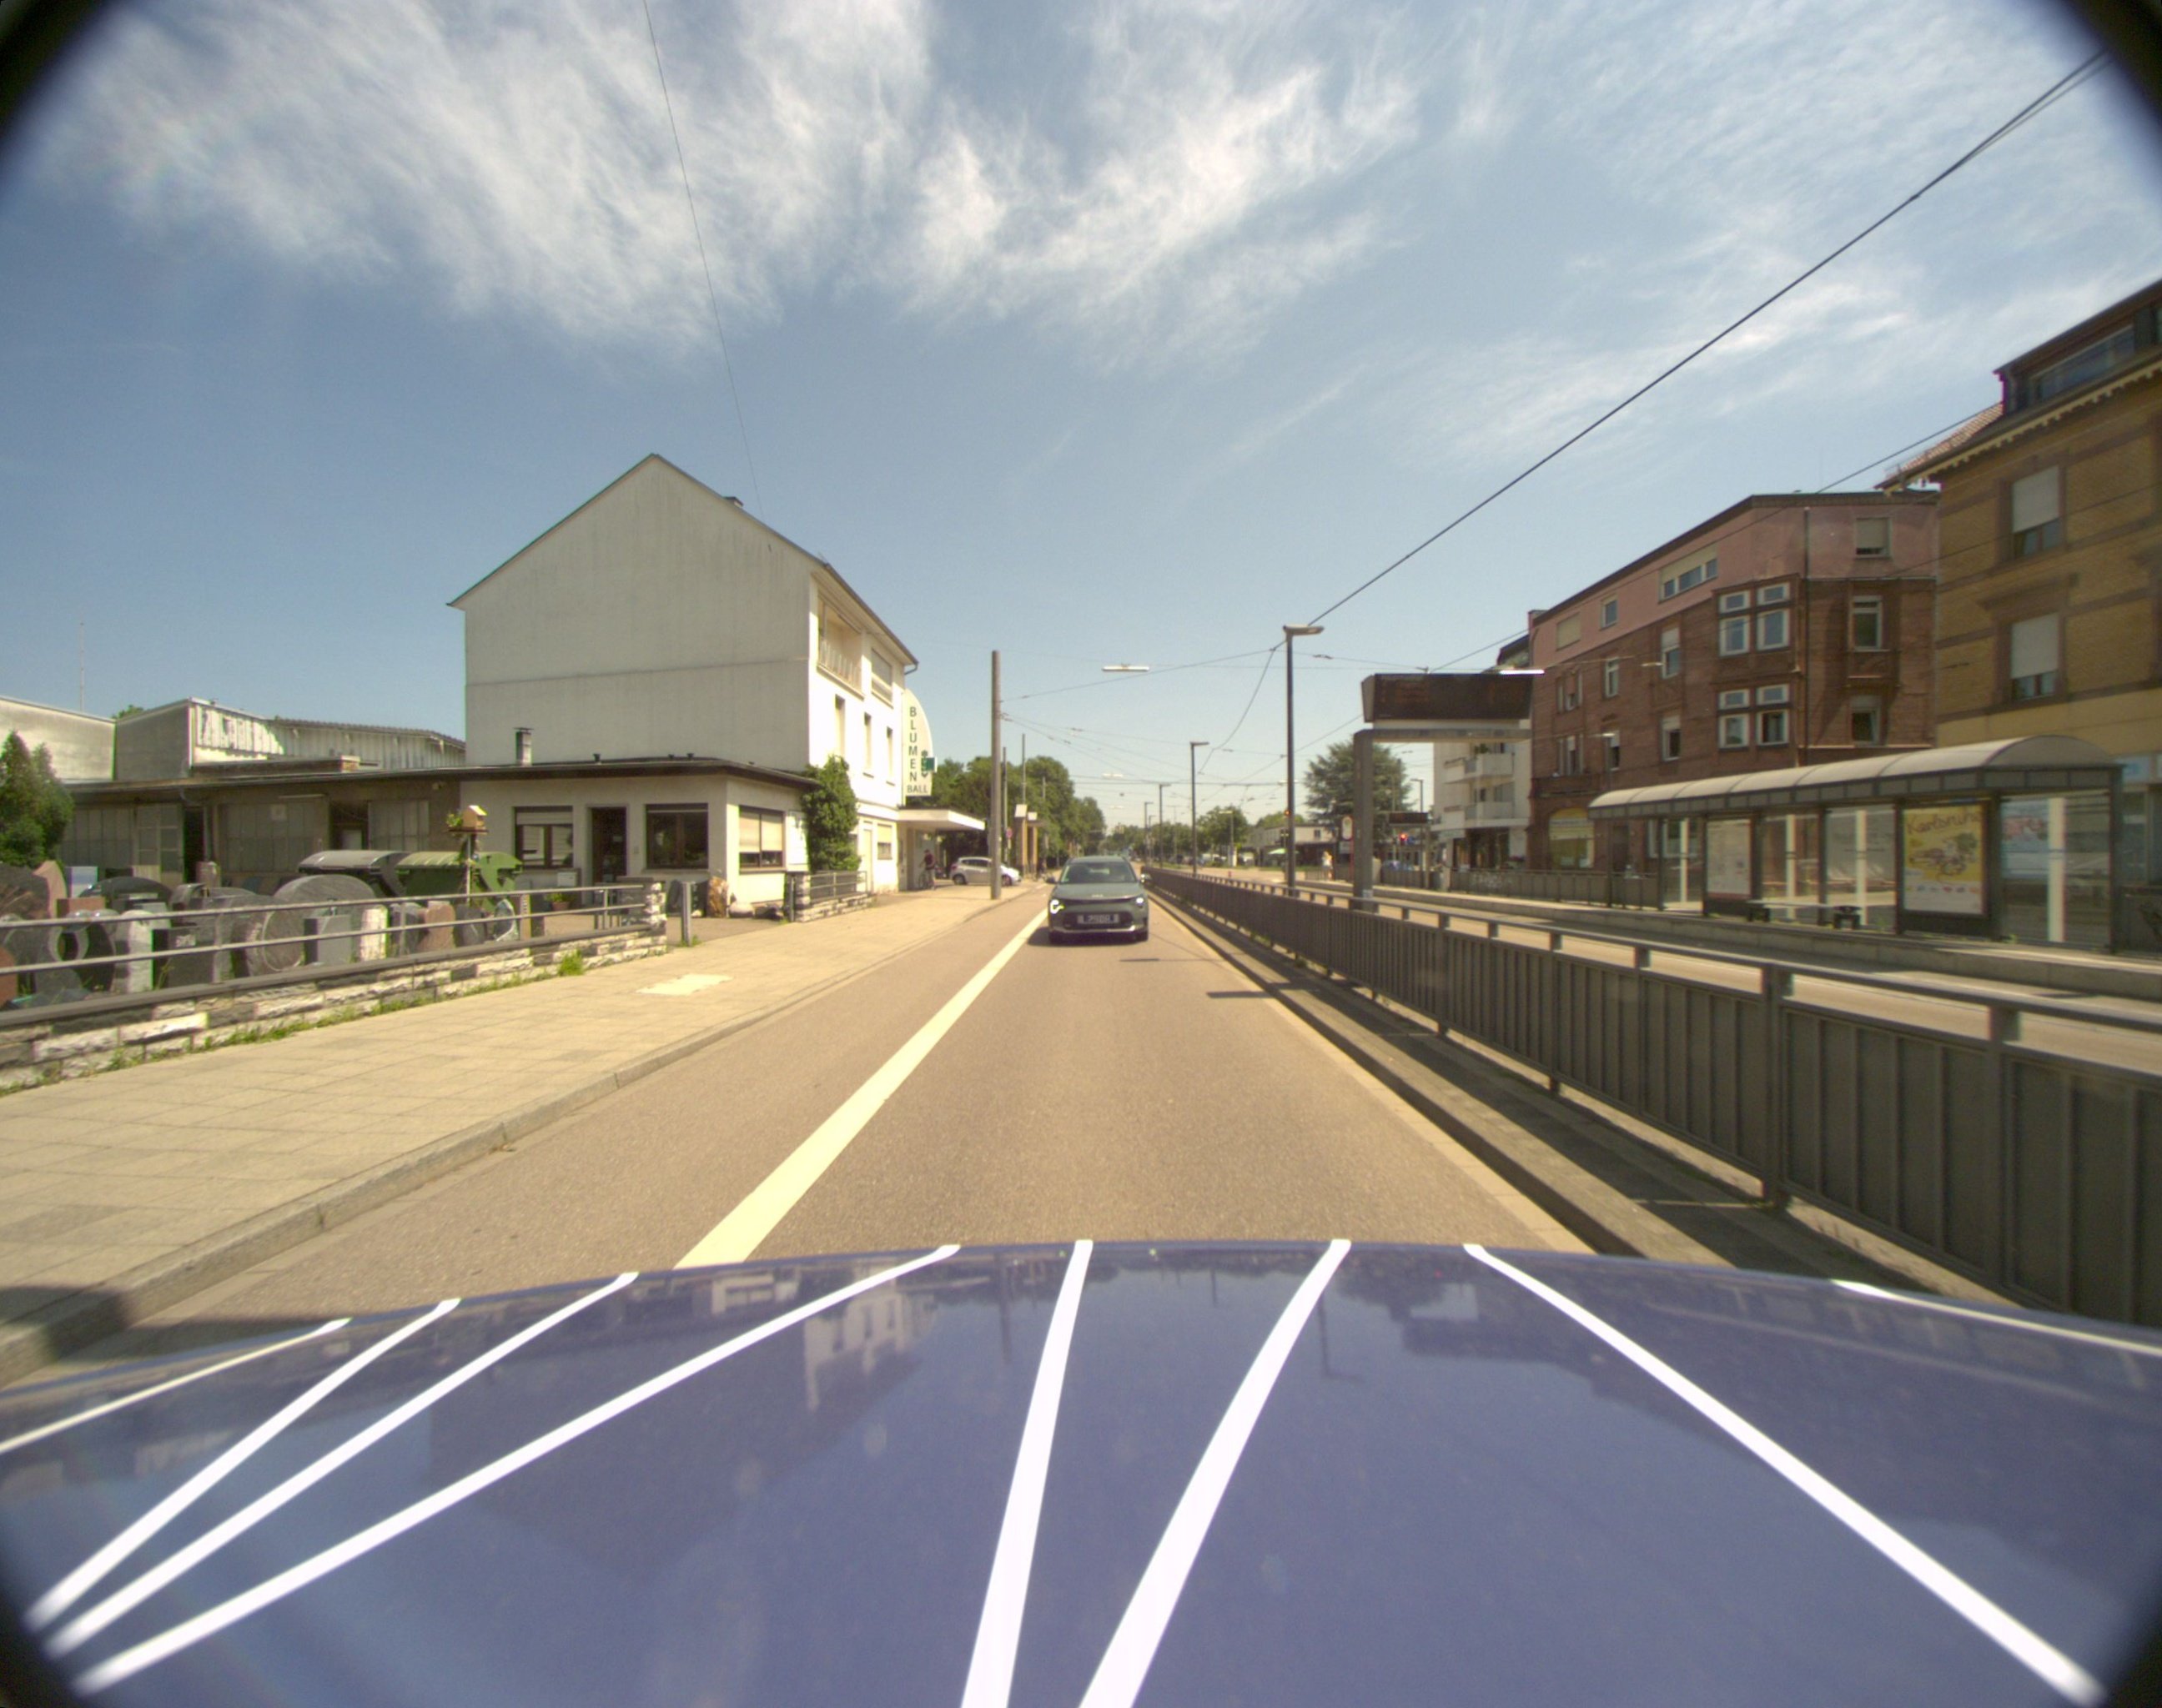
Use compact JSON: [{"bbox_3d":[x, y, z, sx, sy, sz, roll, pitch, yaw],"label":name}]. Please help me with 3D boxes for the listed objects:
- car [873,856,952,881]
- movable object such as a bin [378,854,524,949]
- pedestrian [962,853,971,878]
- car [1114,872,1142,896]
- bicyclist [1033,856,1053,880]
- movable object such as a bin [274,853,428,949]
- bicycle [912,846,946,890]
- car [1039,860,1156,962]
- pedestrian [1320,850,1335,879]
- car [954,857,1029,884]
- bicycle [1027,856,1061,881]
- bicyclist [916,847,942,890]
[{"bbox_3d":[-10.303,0.901,46.699,4.461,1.449,1.595,1,-1,1],"label":"car"},{"bbox_3d":[-10.180,0.739,12.338,1.390,1.472,1.151,-1,0,2],"label":"movable object such as a bin"},{"bbox_3d":[-7.463,0.752,49.630,0.536,1.588,0.425,-2,1,-12],"label":"pedestrian"},{"bbox_3d":[3.434,2.177,56.492,1.749,1.546,4.487,-3,0,0],"label":"car"},{"bbox_3d":[-2.607,0.960,52.380,0.987,1.568,0.866,4,0,-30],"label":"bicyclist"},{"bbox_3d":[-11.795,0.731,12.329,1.390,1.472,1.152,-1,0,5],"label":"movable object such as a bin"},{"bbox_3d":[-6.744,0.628,33.872,0.799,1.889,1.960,2,0,9],"label":"bicycle"},{"bbox_3d":[0.334,0.925,14.271,1.827,1.546,4.487,-1,0,2],"label":"car"},{"bbox_3d":[13.826,0.603,42.581,0.597,1.615,0.676,1,1,2],"label":"pedestrian"},{"bbox_3d":[-5.080,0.929,43.440,3.996,1.508,1.698,0,0,3],"label":"car"},{"bbox_3d":[-2.572,1.001,52.402,2.054,1.580,0.889,4,0,-30],"label":"bicycle"},{"bbox_3d":[-6.753,0.660,33.802,0.790,1.863,0.888,2,0,9],"label":"bicyclist"}]
